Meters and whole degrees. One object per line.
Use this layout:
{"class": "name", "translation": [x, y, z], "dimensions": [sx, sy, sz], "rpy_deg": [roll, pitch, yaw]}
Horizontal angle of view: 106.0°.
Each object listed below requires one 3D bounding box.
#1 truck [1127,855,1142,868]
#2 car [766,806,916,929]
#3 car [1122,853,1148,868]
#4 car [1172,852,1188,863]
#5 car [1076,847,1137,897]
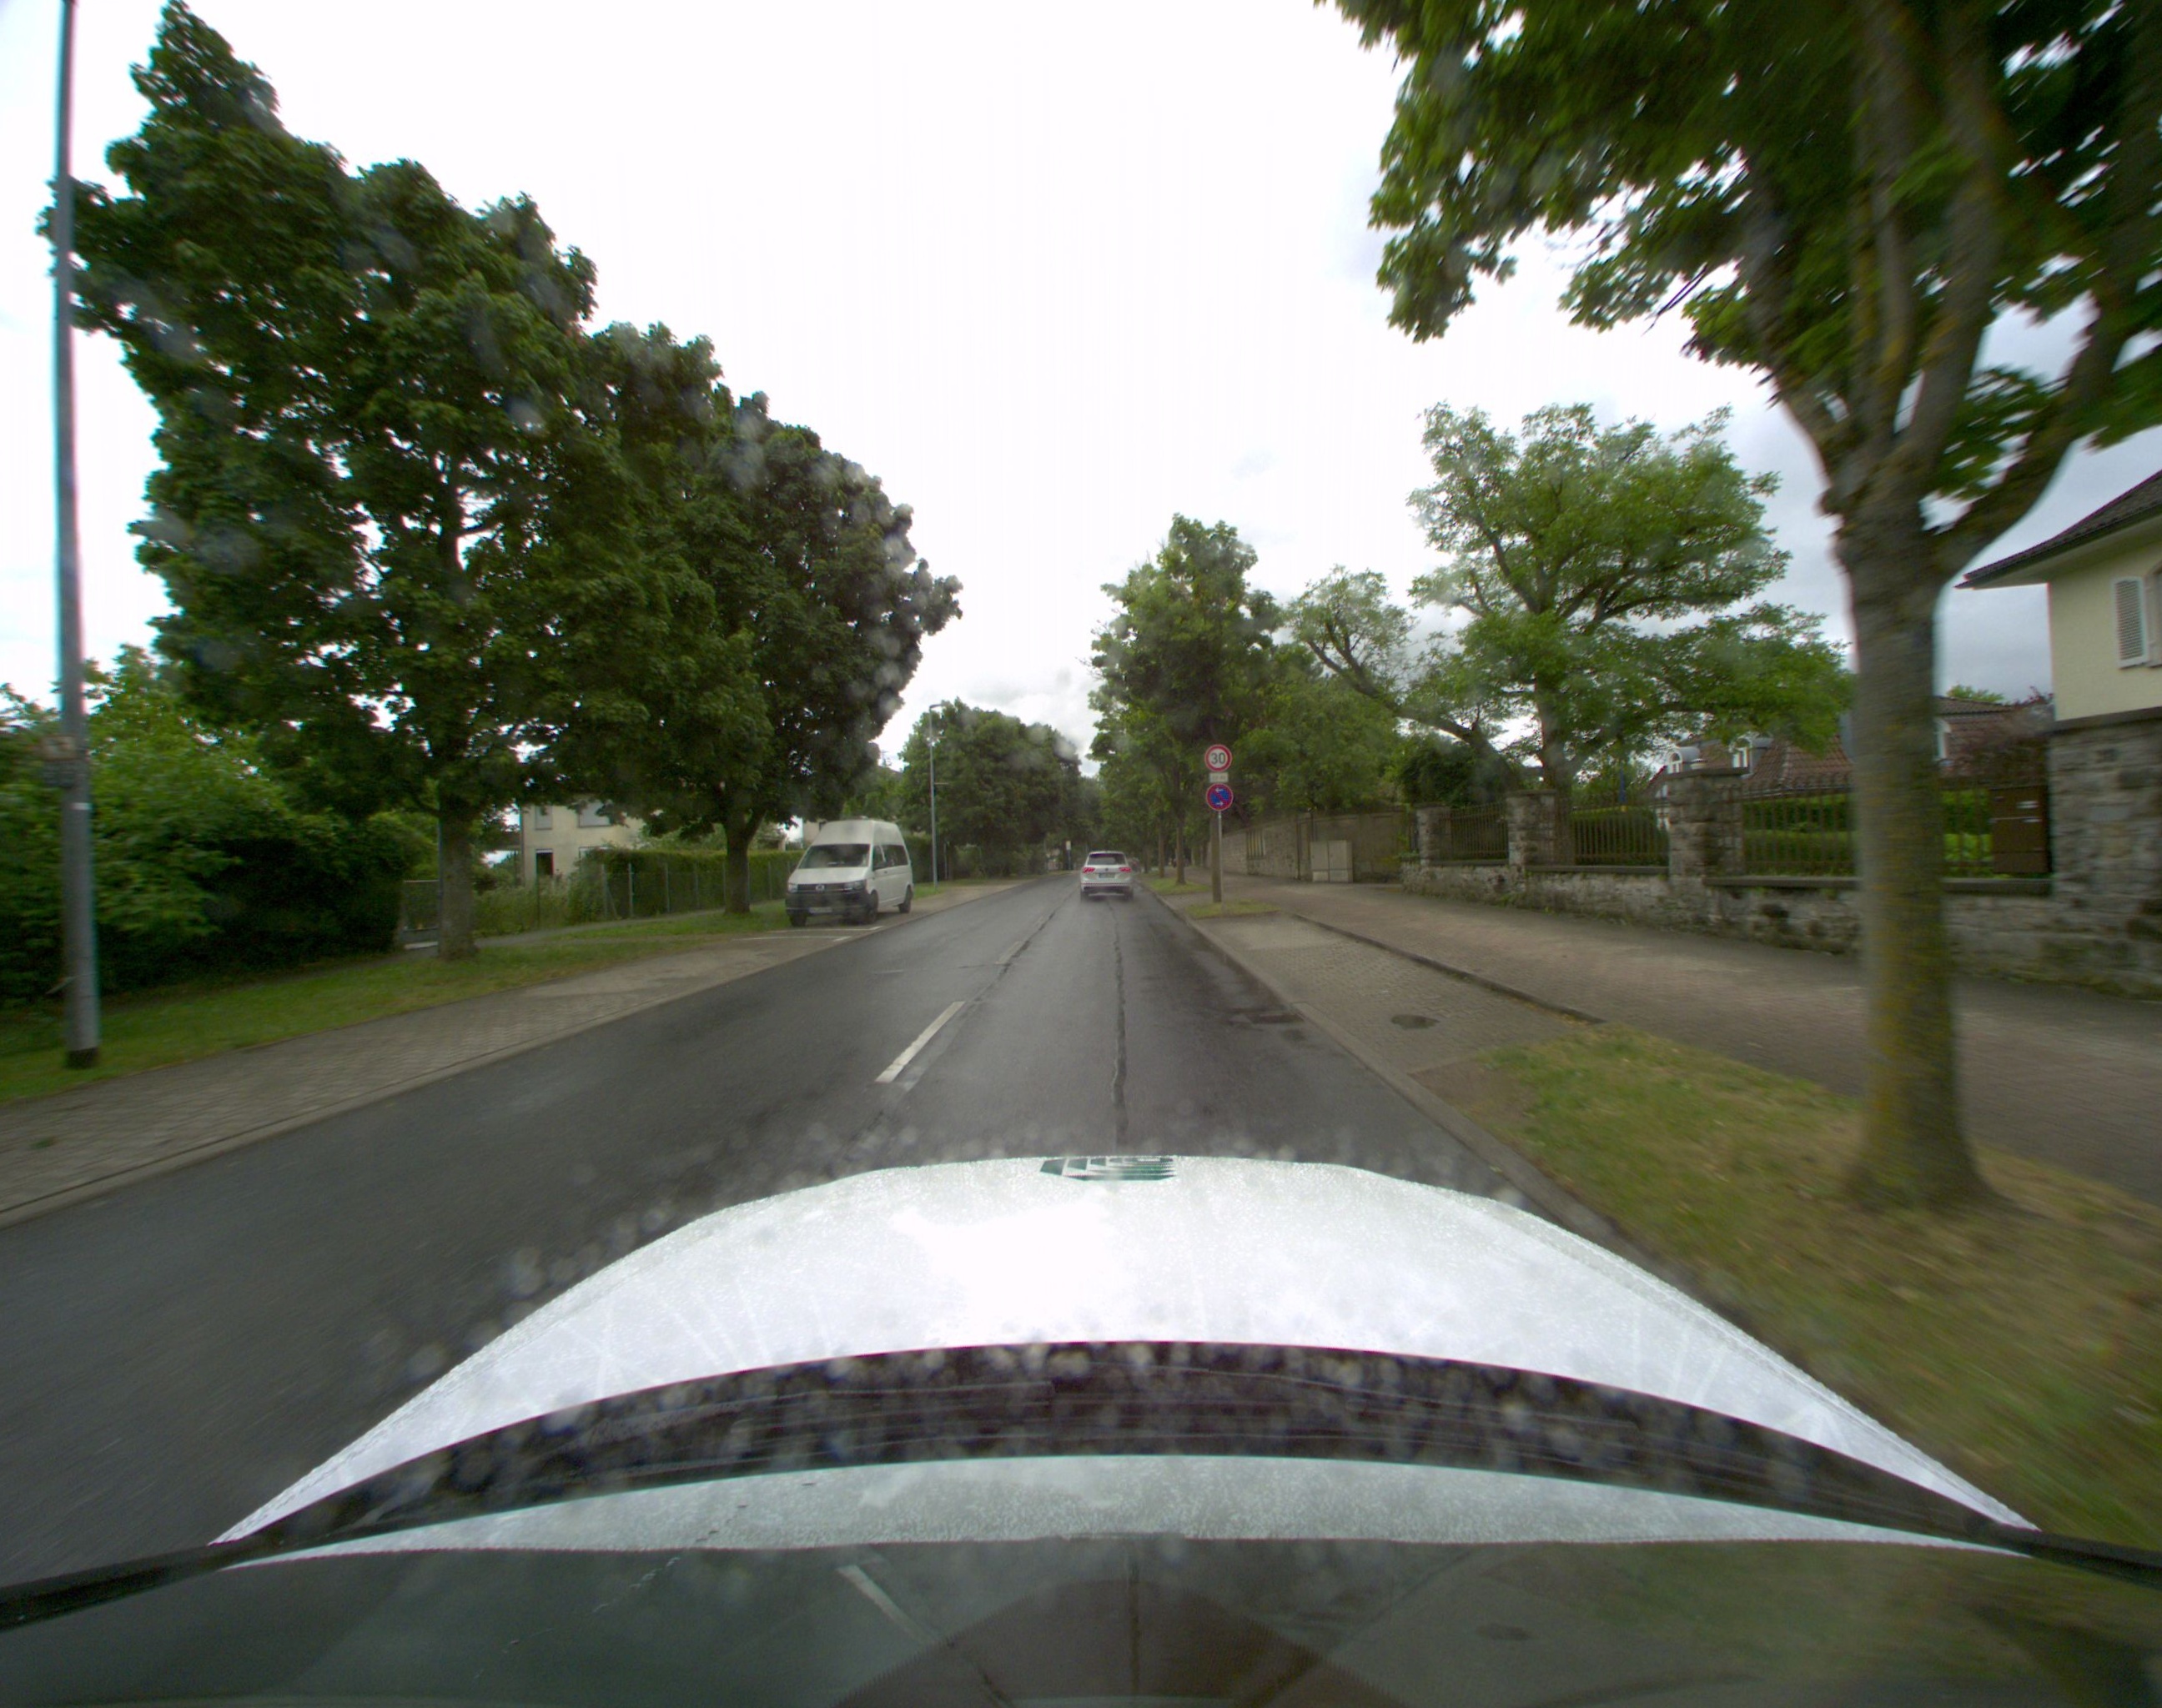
{"class": "truck", "translation": [11.388, 1.587, 172.257], "dimensions": [2.270, 2.597, 5.891], "rpy_deg": [-3, -1, 10]}
{"class": "car", "translation": [-5.686, 0.273, 20.125], "dimensions": [1.987, 2.561, 5.233], "rpy_deg": [-2, 0, 1]}
{"class": "car", "translation": [5.484, 0.668, 82.594], "dimensions": [1.826, 1.487, 4.017], "rpy_deg": [0, 0, 16]}
{"class": "car", "translation": [14.281, 0.509, 117.135], "dimensions": [1.829, 1.487, 4.012], "rpy_deg": [-4, -1, 11]}
{"class": "car", "translation": [0.881, 0.590, 28.976], "dimensions": [1.990, 1.632, 4.001], "rpy_deg": [-1, 0, 1]}
